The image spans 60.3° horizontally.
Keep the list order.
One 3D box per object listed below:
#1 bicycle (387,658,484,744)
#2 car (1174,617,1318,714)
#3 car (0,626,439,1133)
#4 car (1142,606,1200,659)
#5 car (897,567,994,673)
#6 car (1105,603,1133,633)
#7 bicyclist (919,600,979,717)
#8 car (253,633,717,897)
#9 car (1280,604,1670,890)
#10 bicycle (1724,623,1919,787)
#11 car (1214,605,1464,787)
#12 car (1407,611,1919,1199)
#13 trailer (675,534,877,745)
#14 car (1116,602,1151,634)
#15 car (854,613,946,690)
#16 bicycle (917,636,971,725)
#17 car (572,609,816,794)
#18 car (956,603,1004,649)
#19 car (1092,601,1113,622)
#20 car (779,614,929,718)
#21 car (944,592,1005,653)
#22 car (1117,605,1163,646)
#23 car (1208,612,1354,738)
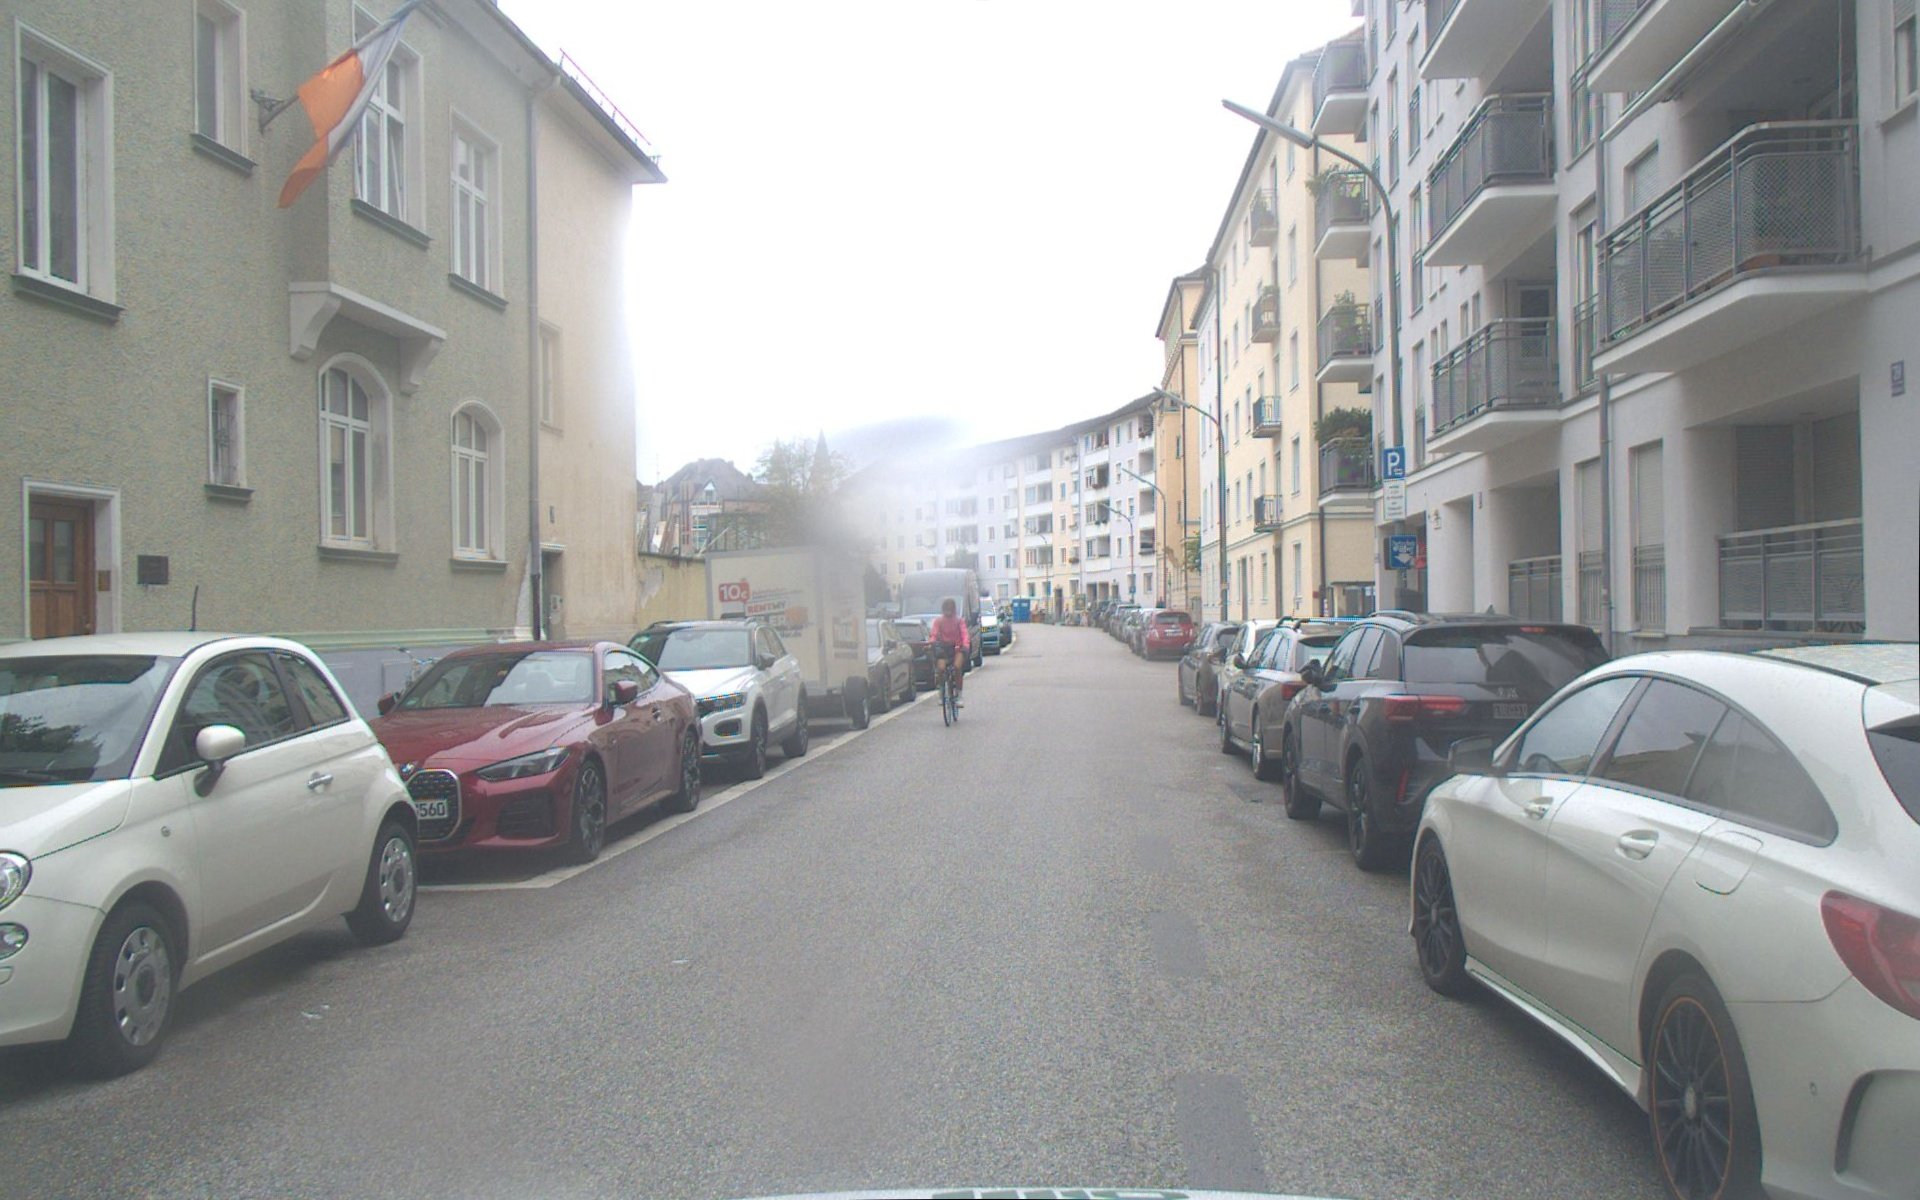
[{"bbox_3d":[-6.379,1.209,20.207,0.512,0.922,1.929,2,0,1],"label":"bicycle"},{"bbox_3d":[4.542,1.005,26.763,1.726,1.432,4.079,0,-1,2],"label":"car"},{"bbox_3d":[-3.444,0.897,6.678,1.442,1.492,3.314,-2,0,3],"label":"car"},{"bbox_3d":[6.432,0.957,50.756,1.562,1.535,3.803,-1,0,4],"label":"car"},{"bbox_3d":[-0.318,0.504,45.193,2.044,2.682,5.380,-1,0,6],"label":"car"},{"bbox_3d":[9.224,1.013,96.054,1.443,1.669,4.002,0,0,3],"label":"car"},{"bbox_3d":[-0.144,0.806,23.283,0.679,1.589,0.967,-2,0,7],"label":"bicyclist"},{"bbox_3d":[-3.094,1.008,11.800,1.822,1.437,4.335,-3,-1,3],"label":"car"},{"bbox_3d":[3.279,0.834,11.290,1.570,1.557,3.985,2,0,3],"label":"car"},{"bbox_3d":[6.924,0.795,13.320,0.614,1.180,2.128,-1,0,2],"label":"bicycle"},{"bbox_3d":[3.722,0.864,17.004,1.698,1.557,4.623,2,0,3],"label":"car"},{"bbox_3d":[2.677,0.792,5.104,1.623,1.465,4.208,2,0,3],"label":"car"},{"bbox_3d":[-2.376,0.492,22.489,1.673,2.504,4.389,-3,0,7],"label":"trailer"},{"bbox_3d":[8.967,0.915,85.917,1.557,1.610,4.300,0,0,3],"label":"car"},{"bbox_3d":[-1.213,1.042,34.830,1.665,1.471,3.826,0,0,2],"label":"car"},{"bbox_3d":[-0.207,1.112,23.267,0.493,1.148,1.774,-2,0,7],"label":"bicycle"},{"bbox_3d":[-2.645,0.952,17.324,1.651,1.631,3.923,-3,0,3],"label":"car"},{"bbox_3d":[0.816,1.015,66.228,1.666,1.720,4.029,-3,0,3],"label":"car"},{"bbox_3d":[9.273,0.762,107.744,1.245,1.321,2.798,0,0,3],"label":"car"},{"bbox_3d":[-1.732,1.064,28.481,1.729,1.565,4.544,-3,-1,7],"label":"car"},{"bbox_3d":[0.544,0.748,57.715,1.843,1.965,4.603,-3,0,3],"label":"car"},{"bbox_3d":[7.195,1.001,66.438,1.565,1.517,3.800,-1,0,2],"label":"car"},{"bbox_3d":[4.305,0.962,22.588,1.487,1.557,3.528,1,0,4],"label":"car"}]
